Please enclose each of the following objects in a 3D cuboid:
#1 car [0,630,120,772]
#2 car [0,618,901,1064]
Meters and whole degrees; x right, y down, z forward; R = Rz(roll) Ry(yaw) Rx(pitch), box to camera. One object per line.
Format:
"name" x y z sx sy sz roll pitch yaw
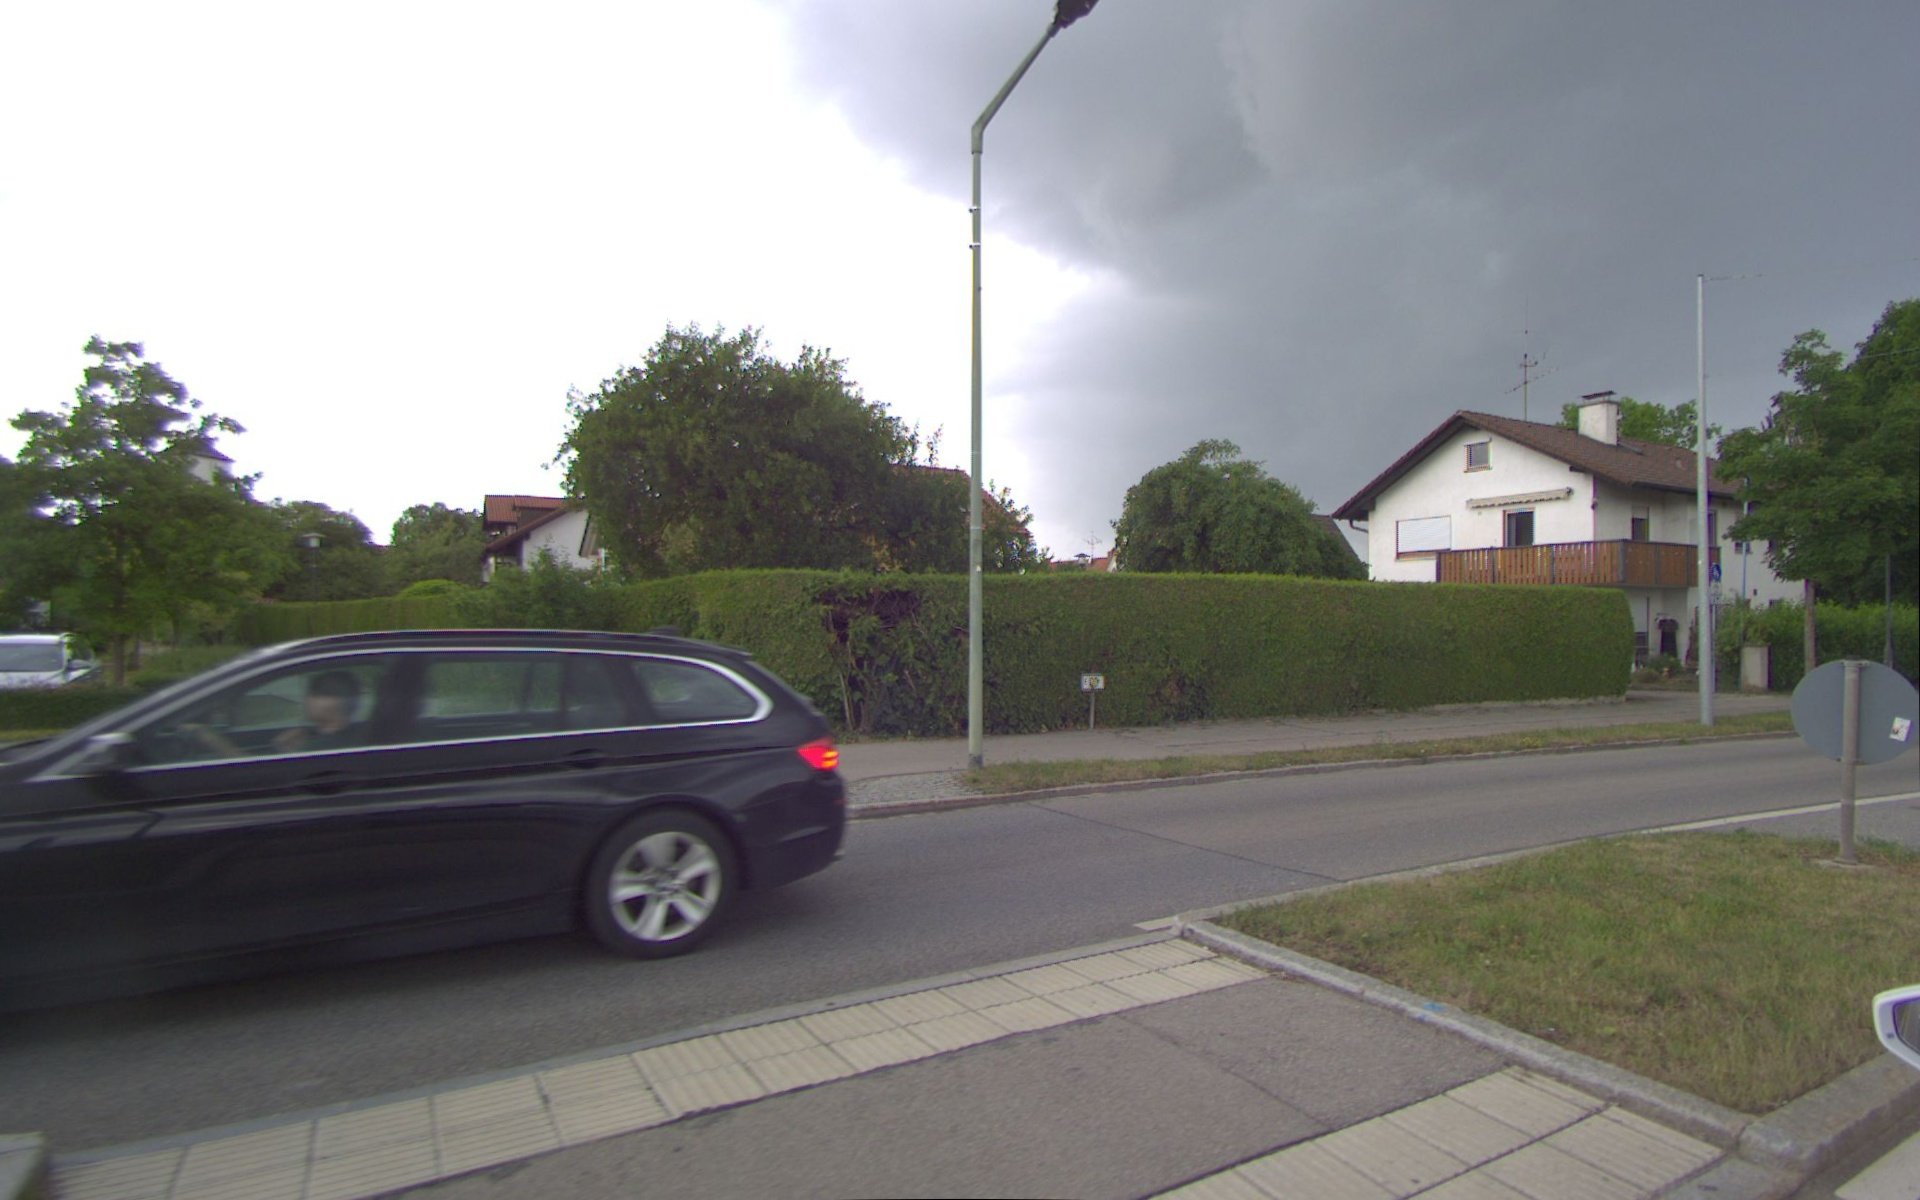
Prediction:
"car" -15.340 1.528 16.356 1.978 2.040 3.965 1 -1 -32
"car" -2.681 0.831 4.728 4.443 1.473 1.911 1 -1 -30
